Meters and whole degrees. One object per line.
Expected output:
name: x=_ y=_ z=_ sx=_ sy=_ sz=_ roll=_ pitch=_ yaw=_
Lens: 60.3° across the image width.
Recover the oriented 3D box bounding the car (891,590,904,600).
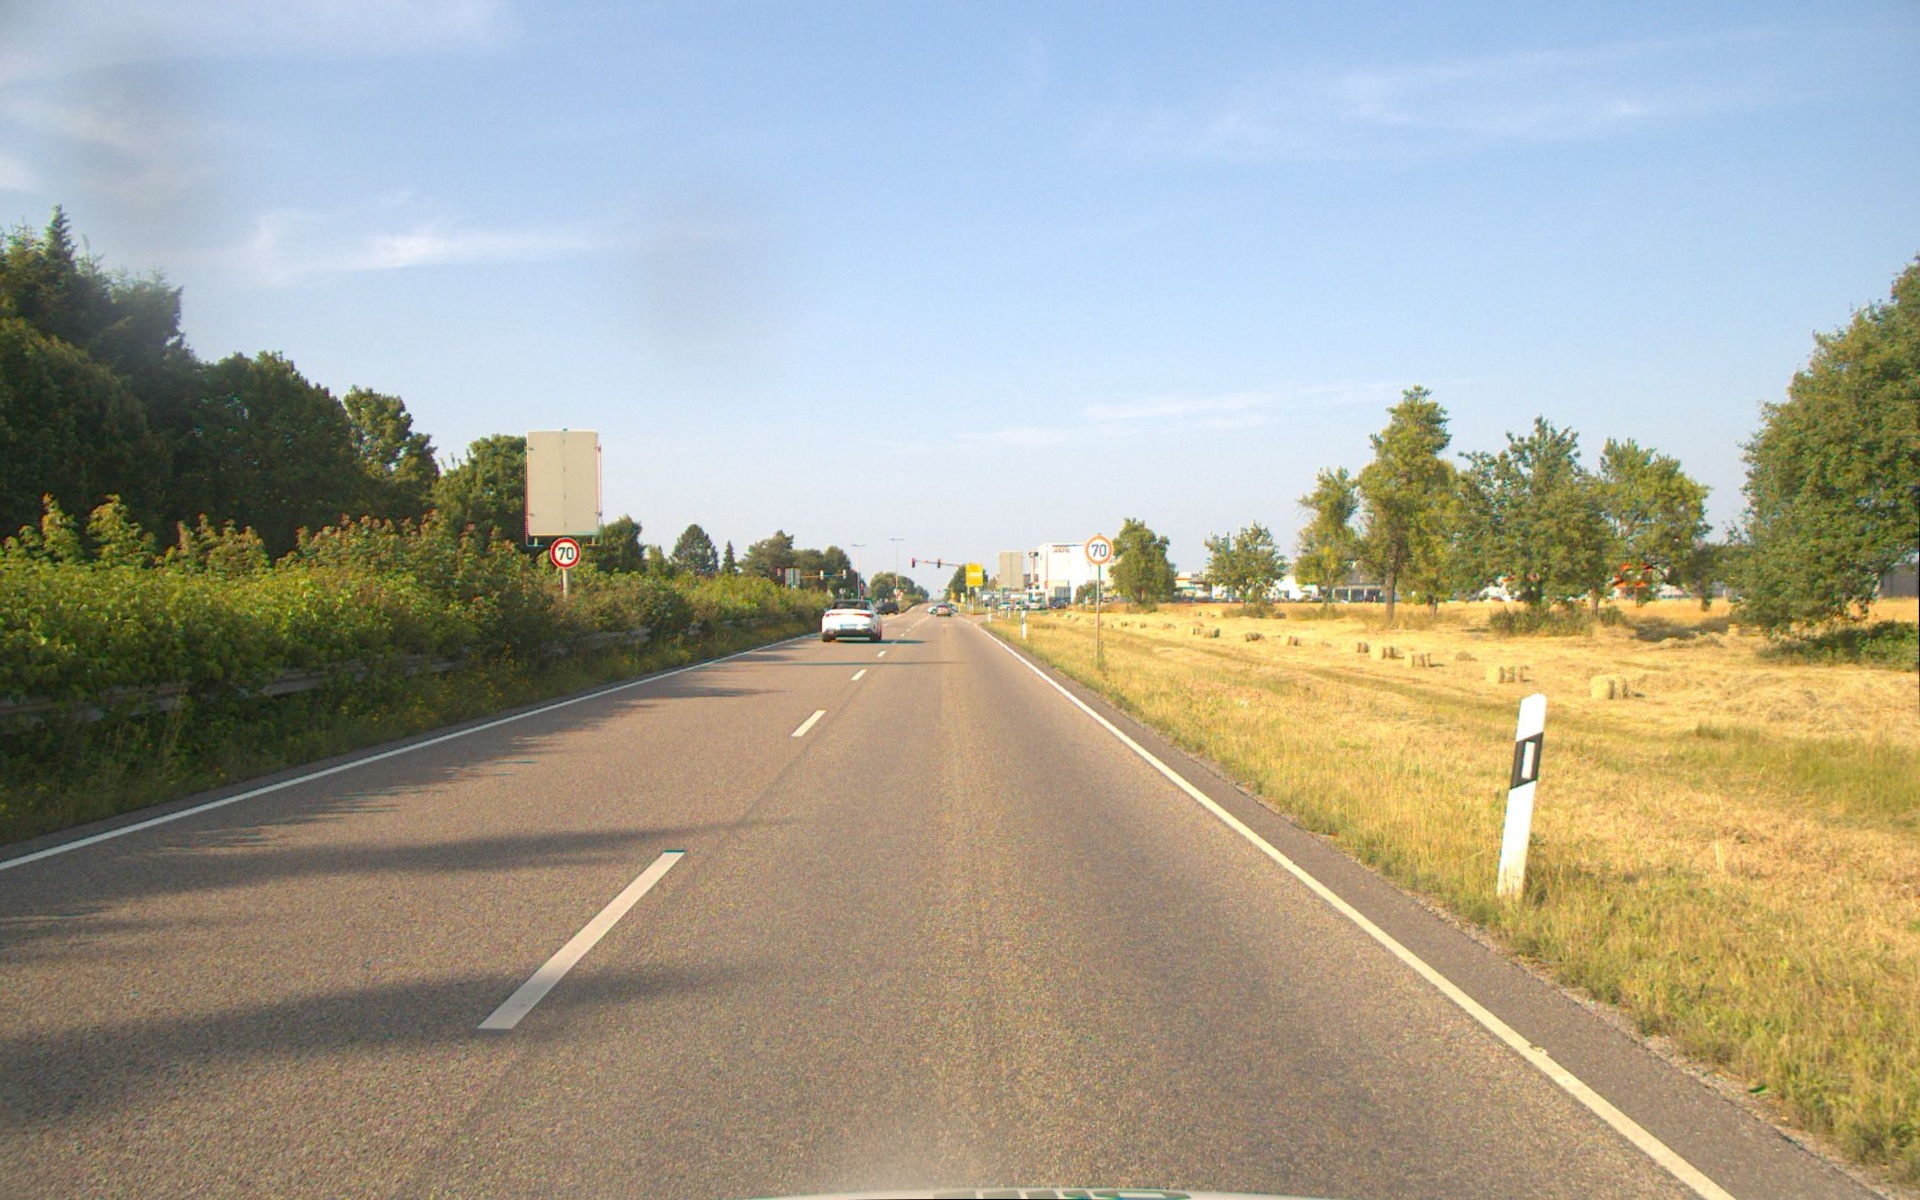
car: x=-9.723 y=-0.762 z=258.109 sx=1.908 sy=1.432 sz=4.000 roll=0 pitch=0 yaw=0

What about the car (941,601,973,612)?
car: x=-0.365 y=0.852 z=222.039 sx=3.929 sy=1.432 sz=1.942 roll=0 pitch=0 yaw=-21

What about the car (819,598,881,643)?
car: x=-3.620 y=0.652 z=55.017 sx=1.871 sy=1.447 sz=3.999 roll=0 pitch=0 yaw=-2

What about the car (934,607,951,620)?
car: x=-2.094 y=1.570 z=194.140 sx=1.953 sy=1.512 sz=3.999 roll=0 pitch=0 yaw=-2
